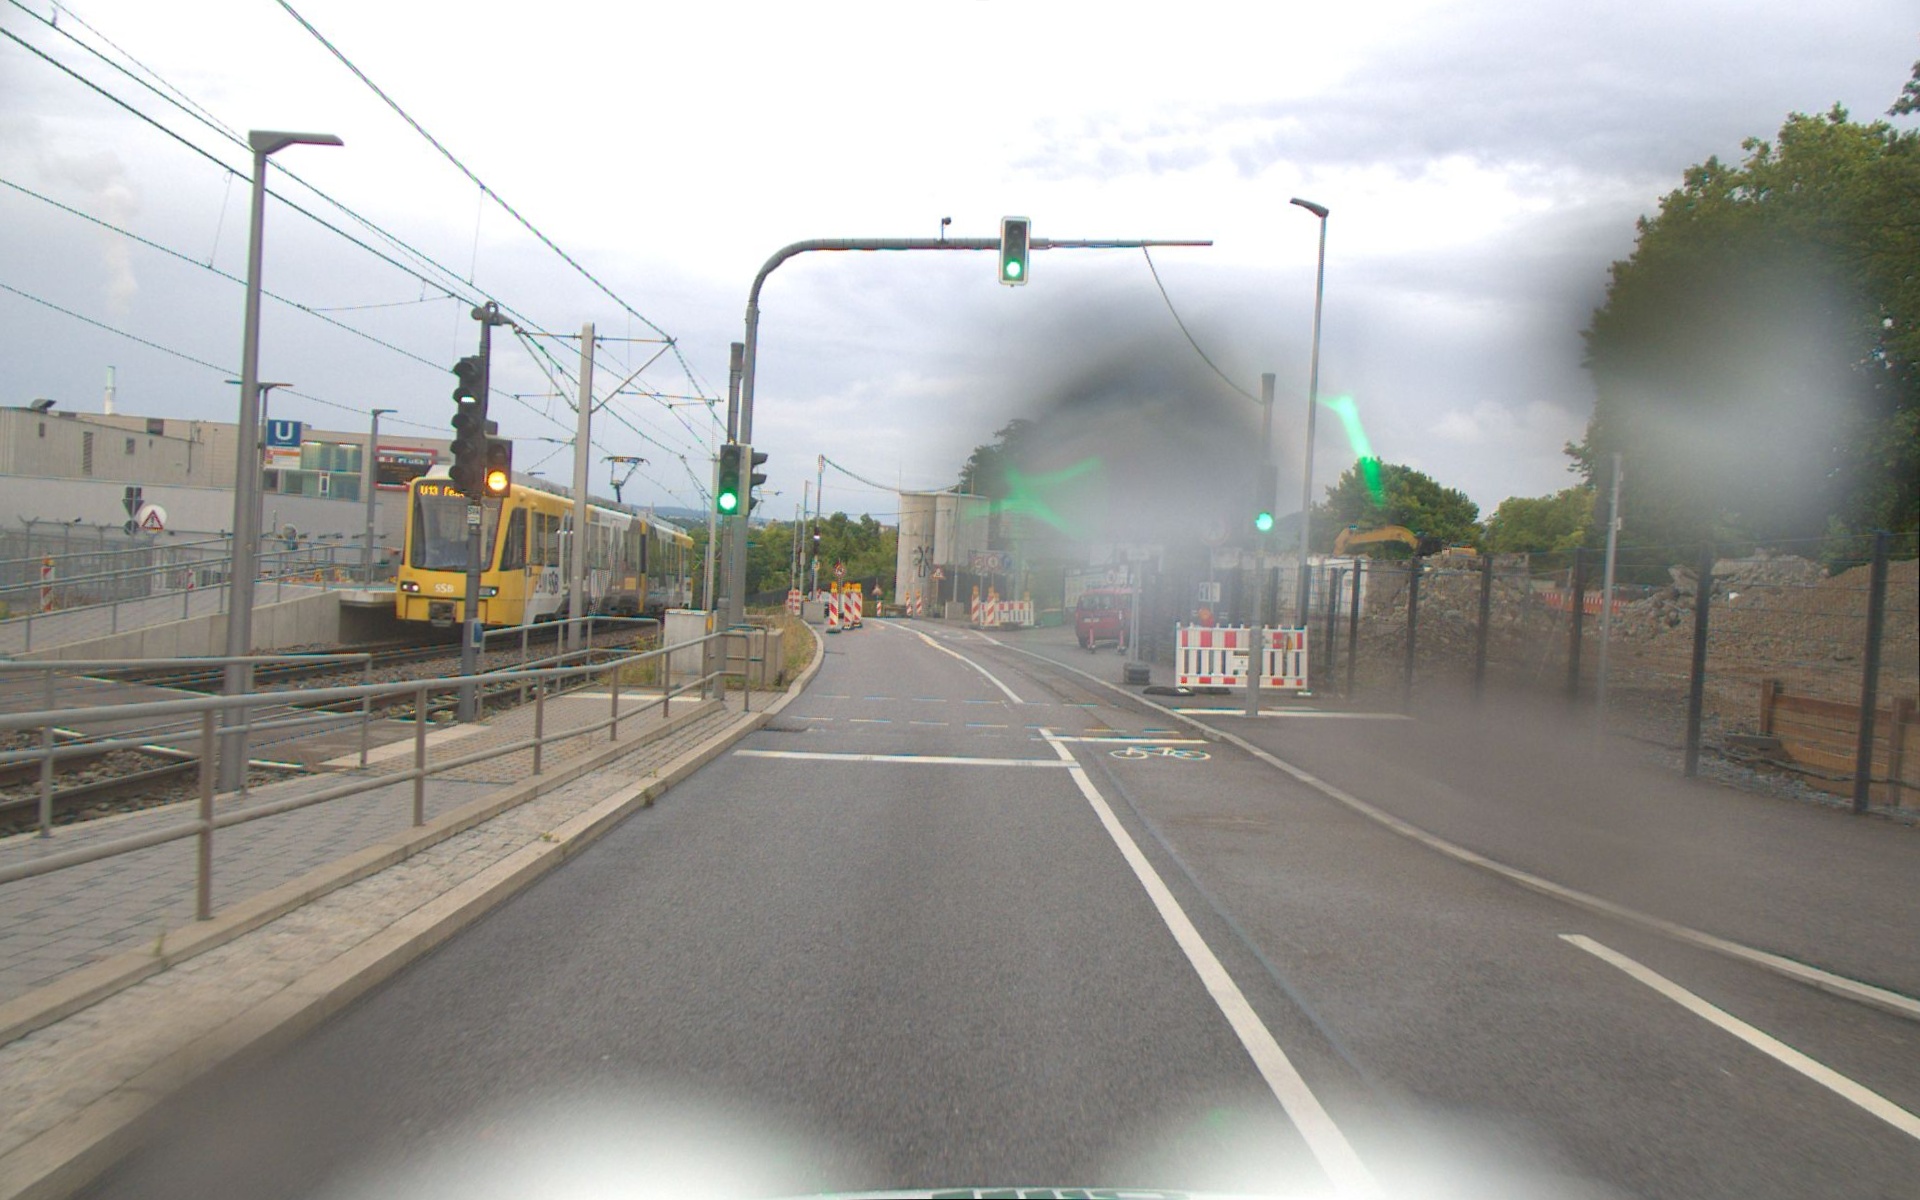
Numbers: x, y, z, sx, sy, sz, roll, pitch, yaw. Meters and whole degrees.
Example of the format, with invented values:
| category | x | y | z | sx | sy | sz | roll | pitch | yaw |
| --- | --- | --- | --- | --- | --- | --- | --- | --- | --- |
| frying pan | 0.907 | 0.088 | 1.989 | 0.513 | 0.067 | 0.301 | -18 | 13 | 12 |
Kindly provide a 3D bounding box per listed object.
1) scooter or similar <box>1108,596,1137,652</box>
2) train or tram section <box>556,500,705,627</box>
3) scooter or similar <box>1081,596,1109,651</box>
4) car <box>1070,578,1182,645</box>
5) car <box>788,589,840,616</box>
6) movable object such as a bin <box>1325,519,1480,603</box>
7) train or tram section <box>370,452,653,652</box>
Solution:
| category | x | y | z | sx | sy | sz | roll | pitch | yaw |
| --- | --- | --- | --- | --- | --- | --- | --- | --- | --- |
| scooter or similar | 4.205 | 0.613 | 42.875 | 0.602 | 1.375 | 1.913 | 2 | 0 | 2 |
| train or tram section | -12.154 | -1.268 | 63.236 | 2.897 | 3.953 | 19.276 | 3 | 0 | -4 |
| scooter or similar | 3.518 | 0.603 | 43.202 | 0.602 | 1.375 | 1.913 | 2 | 0 | 2 |
| car | 4.922 | 0.332 | 48.633 | 1.784 | 1.825 | 4.404 | 2 | 1 | 27 |
| car | -9.505 | 0.158 | 107.126 | 1.968 | 1.707 | 4.453 | 1 | 0 | -25 |
| movable object such as a bin | 34.043 | -2.985 | 127.561 | 10.995 | 6.100 | 3.493 | 1 | 0 | 4 |
| train or tram section | -11.043 | -1.074 | 43.858 | 2.896 | 3.953 | 19.562 | 3 | 0 | -3 |
